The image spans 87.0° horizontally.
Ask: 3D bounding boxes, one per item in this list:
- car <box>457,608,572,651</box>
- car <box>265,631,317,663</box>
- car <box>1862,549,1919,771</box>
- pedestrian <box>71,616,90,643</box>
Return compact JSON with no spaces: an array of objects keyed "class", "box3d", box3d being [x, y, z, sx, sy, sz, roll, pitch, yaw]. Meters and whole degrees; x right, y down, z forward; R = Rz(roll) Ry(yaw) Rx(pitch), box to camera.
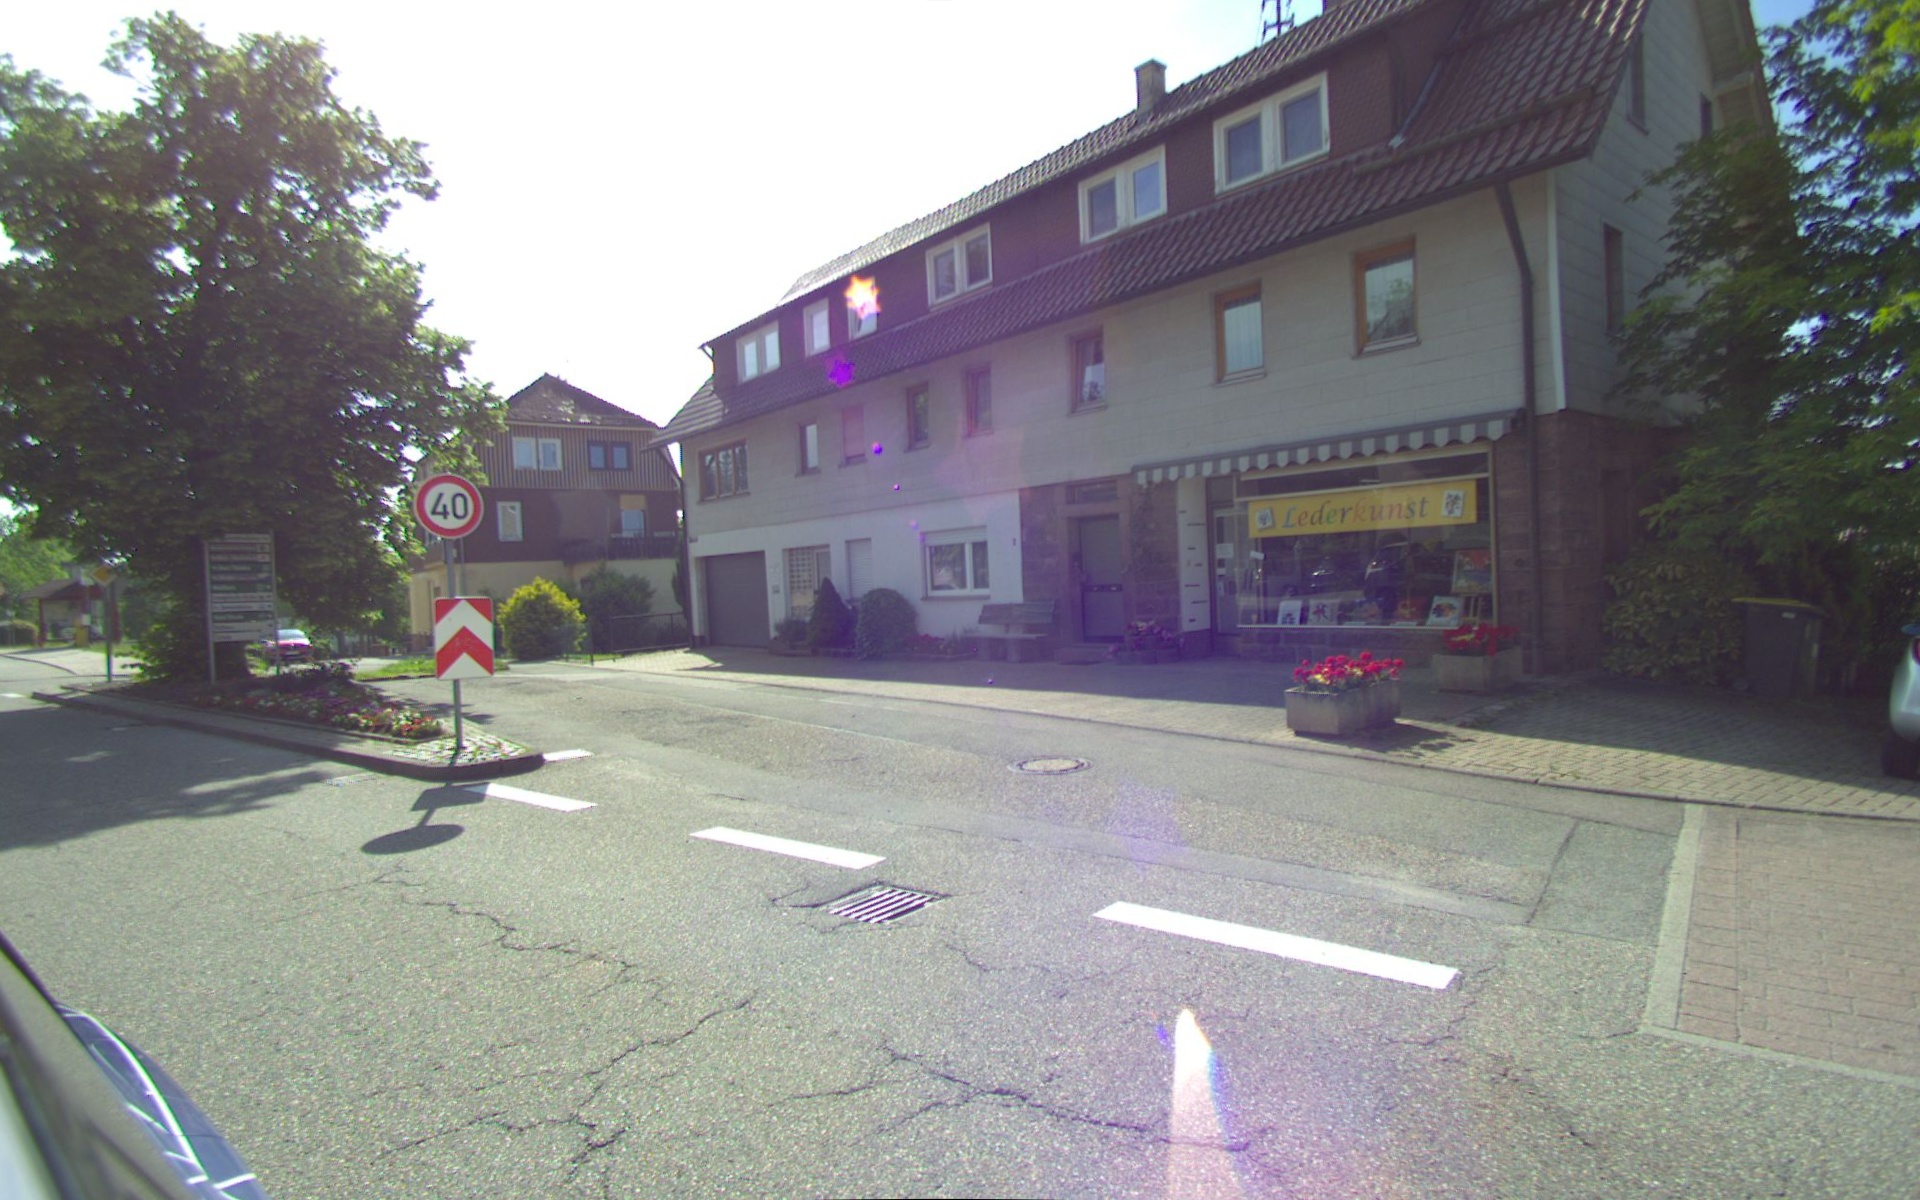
[{"class":"car","box3d":[-19.672,1.267,44.807,4.250,1.522,1.802,-4,4,-42]},{"class":"car","box3d":[-30.278,2.072,45.759,1.698,1.307,4.009,-1,-1,-37]},{"class":"car","box3d":[8.204,0.447,7.365,3.712,1.465,1.821,0,4,-40]},{"class":"pedestrian","box3d":[-41.920,1.419,48.249,0.423,1.262,0.623,-1,-1,36]}]
